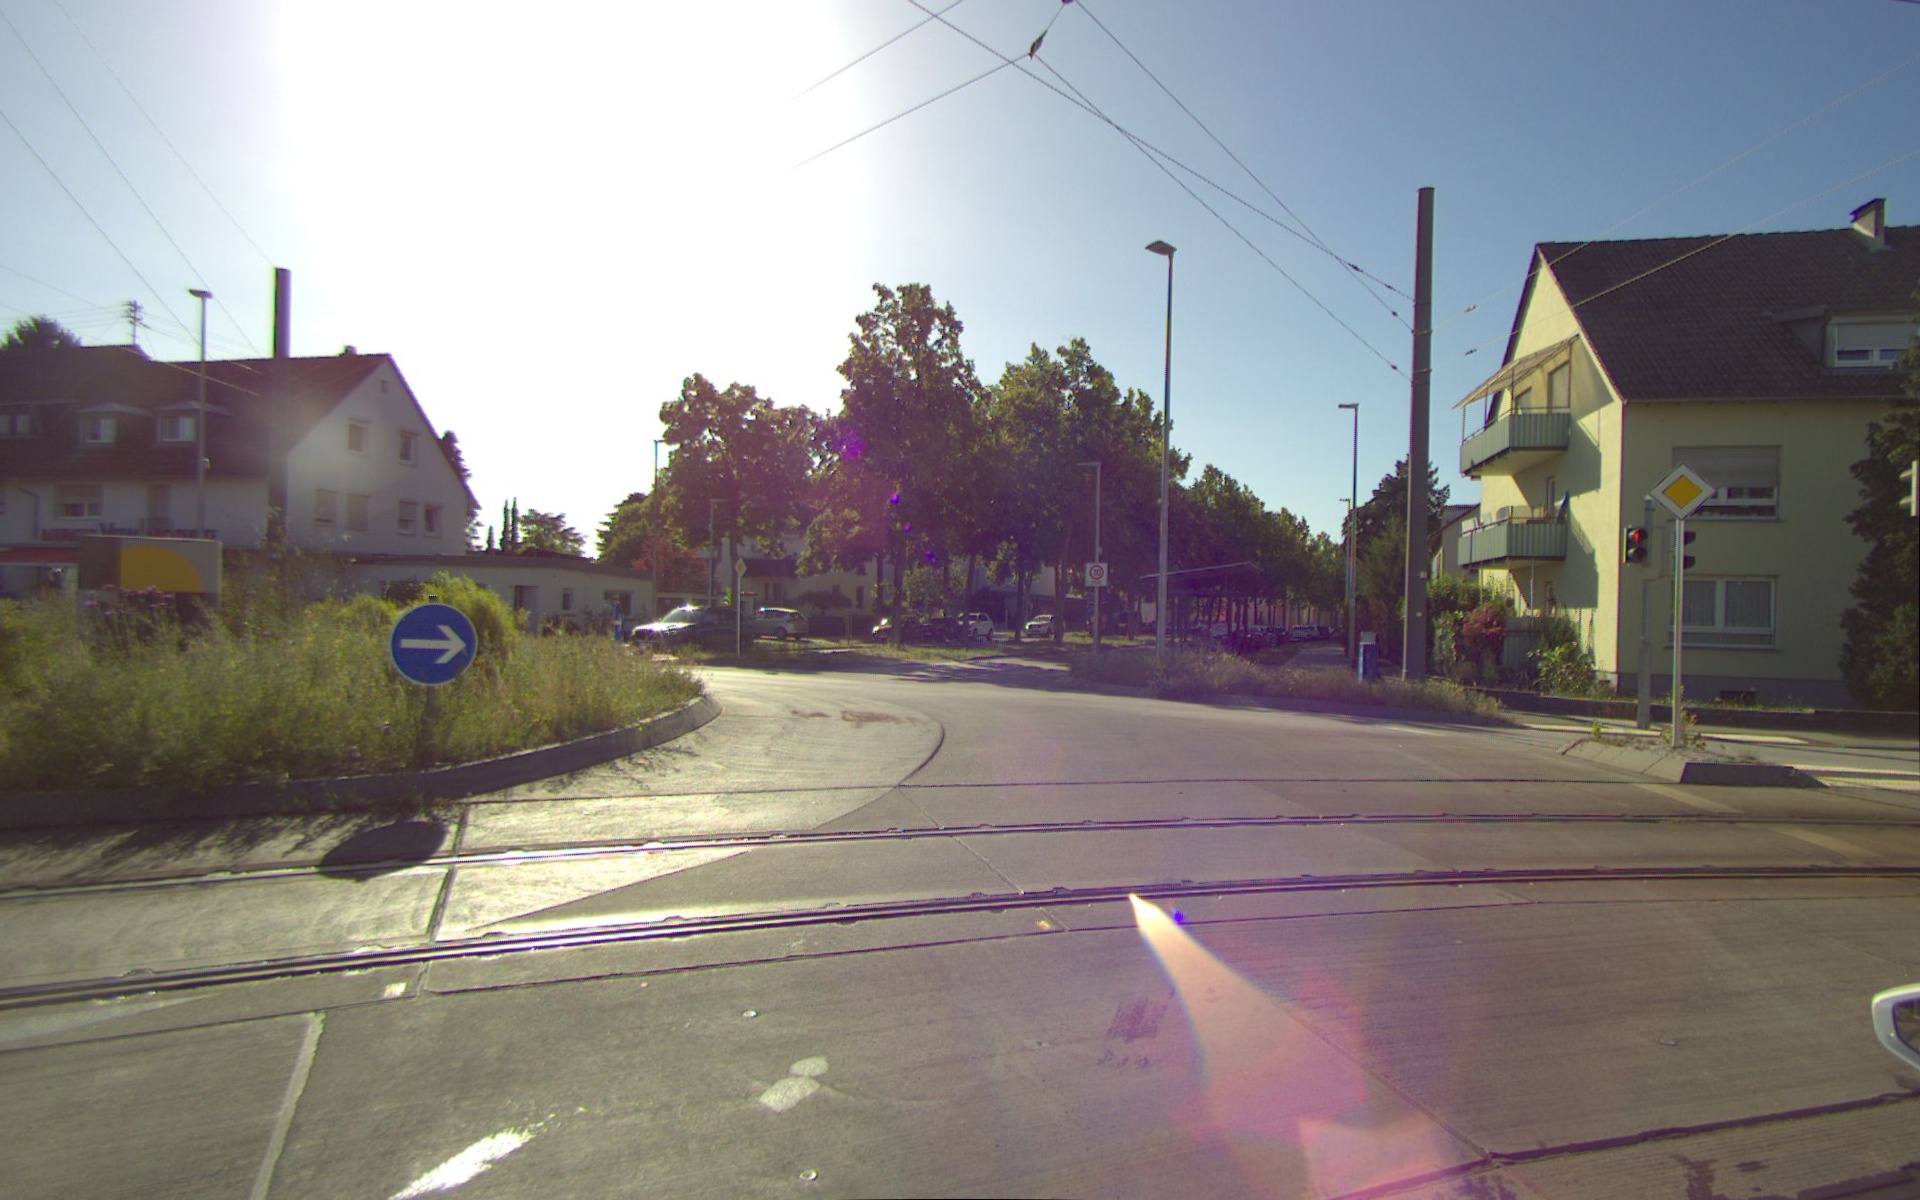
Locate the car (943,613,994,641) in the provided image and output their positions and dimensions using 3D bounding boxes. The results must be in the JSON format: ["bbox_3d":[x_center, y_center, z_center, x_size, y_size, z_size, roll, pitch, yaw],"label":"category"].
[{"bbox_3d":[0.600,1.760,65.720,1.961,1.722,4.218,3,0,20],"label":"car"}]

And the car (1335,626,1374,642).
[{"bbox_3d":[37.927,3.234,96.604,3.459,1.313,1.577,3,0,20],"label":"car"}]

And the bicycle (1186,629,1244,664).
[{"bbox_3d":[8.579,1.545,33.732,1.810,1.041,0.689,3,0,17],"label":"bicycle"}]

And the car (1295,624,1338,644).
[{"bbox_3d":[31.507,3.018,88.791,3.422,1.512,1.552,3,0,20],"label":"car"}]

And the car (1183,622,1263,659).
[{"bbox_3d":[12.438,1.895,47.521,3.459,1.554,1.577,3,0,21],"label":"car"}]

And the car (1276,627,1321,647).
[{"bbox_3d":[27.691,2.994,82.179,3.387,1.413,1.237,3,0,25],"label":"car"}]

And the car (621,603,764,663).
[{"bbox_3d":[-8.077,0.985,30.733,1.801,1.601,4.438,3,0,23],"label":"car"}]

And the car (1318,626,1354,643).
[{"bbox_3d":[39.788,3.619,106.301,3.459,1.554,1.577,3,0,20],"label":"car"}]

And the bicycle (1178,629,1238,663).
[{"bbox_3d":[8.563,1.579,34.687,1.940,1.041,0.696,3,0,17],"label":"bicycle"}]

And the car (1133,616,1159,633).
[{"bbox_3d":[19.971,2.634,107.628,1.961,1.722,4.218,3,0,20],"label":"car"}]

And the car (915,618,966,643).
[{"bbox_3d":[-1.139,1.844,61.221,1.928,1.341,4.002,3,0,16],"label":"car"}]

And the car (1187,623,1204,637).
[{"bbox_3d":[29.824,3.796,126.993,1.620,1.670,3.569,3,0,20],"label":"car"}]

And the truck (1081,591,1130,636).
[{"bbox_3d":[14.143,1.303,97.190,3.019,4.046,8.008,3,0,20],"label":"truck"}]

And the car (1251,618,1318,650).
[{"bbox_3d":[18.395,1.913,56.860,3.459,1.554,1.577,3,0,21],"label":"car"}]

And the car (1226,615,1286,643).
[{"bbox_3d":[18.514,1.815,62.780,3.459,1.554,1.454,3,0,21],"label":"car"}]

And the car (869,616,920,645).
[{"bbox_3d":[-3.589,1.657,55.546,1.769,1.484,3.804,3,0,13],"label":"car"}]

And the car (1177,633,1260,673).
[{"bbox_3d":[11.793,2.387,45.850,3.459,1.554,1.577,3,0,21],"label":"car"}]

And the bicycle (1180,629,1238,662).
[{"bbox_3d":[8.822,1.602,35.602,1.940,1.041,0.689,3,0,17],"label":"bicycle"}]

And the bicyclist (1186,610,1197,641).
[{"bbox_3d":[13.590,1.489,58.946,0.592,1.736,0.545,1,-4,13],"label":"bicyclist"}]

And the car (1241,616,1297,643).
[{"bbox_3d":[20.928,1.991,67.972,3.459,1.554,1.577,3,0,21],"label":"car"}]

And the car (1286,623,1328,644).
[{"bbox_3d":[29.183,2.816,84.489,3.304,1.554,1.523,3,0,20],"label":"car"}]

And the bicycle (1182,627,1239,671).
[{"bbox_3d":[7.744,1.505,31.063,1.638,1.224,0.689,3,0,17],"label":"bicycle"}]

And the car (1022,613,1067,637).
[{"bbox_3d":[6.850,2.037,80.944,1.962,1.796,5.057,3,0,24],"label":"car"}]

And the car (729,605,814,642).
[{"bbox_3d":[-10.147,1.255,54.121,3.972,1.717,2.000,3,0,22],"label":"car"}]

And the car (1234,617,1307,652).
[{"bbox_3d":[15.952,1.766,51.611,3.459,1.554,1.577,3,0,21],"label":"car"}]

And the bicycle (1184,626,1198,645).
[{"bbox_3d":[13.565,2.081,58.906,0.753,1.050,1.535,2,-2,13],"label":"bicycle"}]

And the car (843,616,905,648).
[{"bbox_3d":[-4.030,1.517,47.804,1.568,1.382,4.002,3,0,16],"label":"car"}]

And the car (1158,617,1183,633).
[{"bbox_3d":[24.241,2.856,115.552,1.962,1.722,4.215,3,0,25],"label":"car"}]

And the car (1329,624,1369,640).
[{"bbox_3d":[37.393,3.082,96.584,3.459,1.296,1.577,3,0,20],"label":"car"}]

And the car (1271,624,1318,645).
[{"bbox_3d":[26.438,2.692,79.411,3.358,1.554,1.524,1,0,25],"label":"car"}]
